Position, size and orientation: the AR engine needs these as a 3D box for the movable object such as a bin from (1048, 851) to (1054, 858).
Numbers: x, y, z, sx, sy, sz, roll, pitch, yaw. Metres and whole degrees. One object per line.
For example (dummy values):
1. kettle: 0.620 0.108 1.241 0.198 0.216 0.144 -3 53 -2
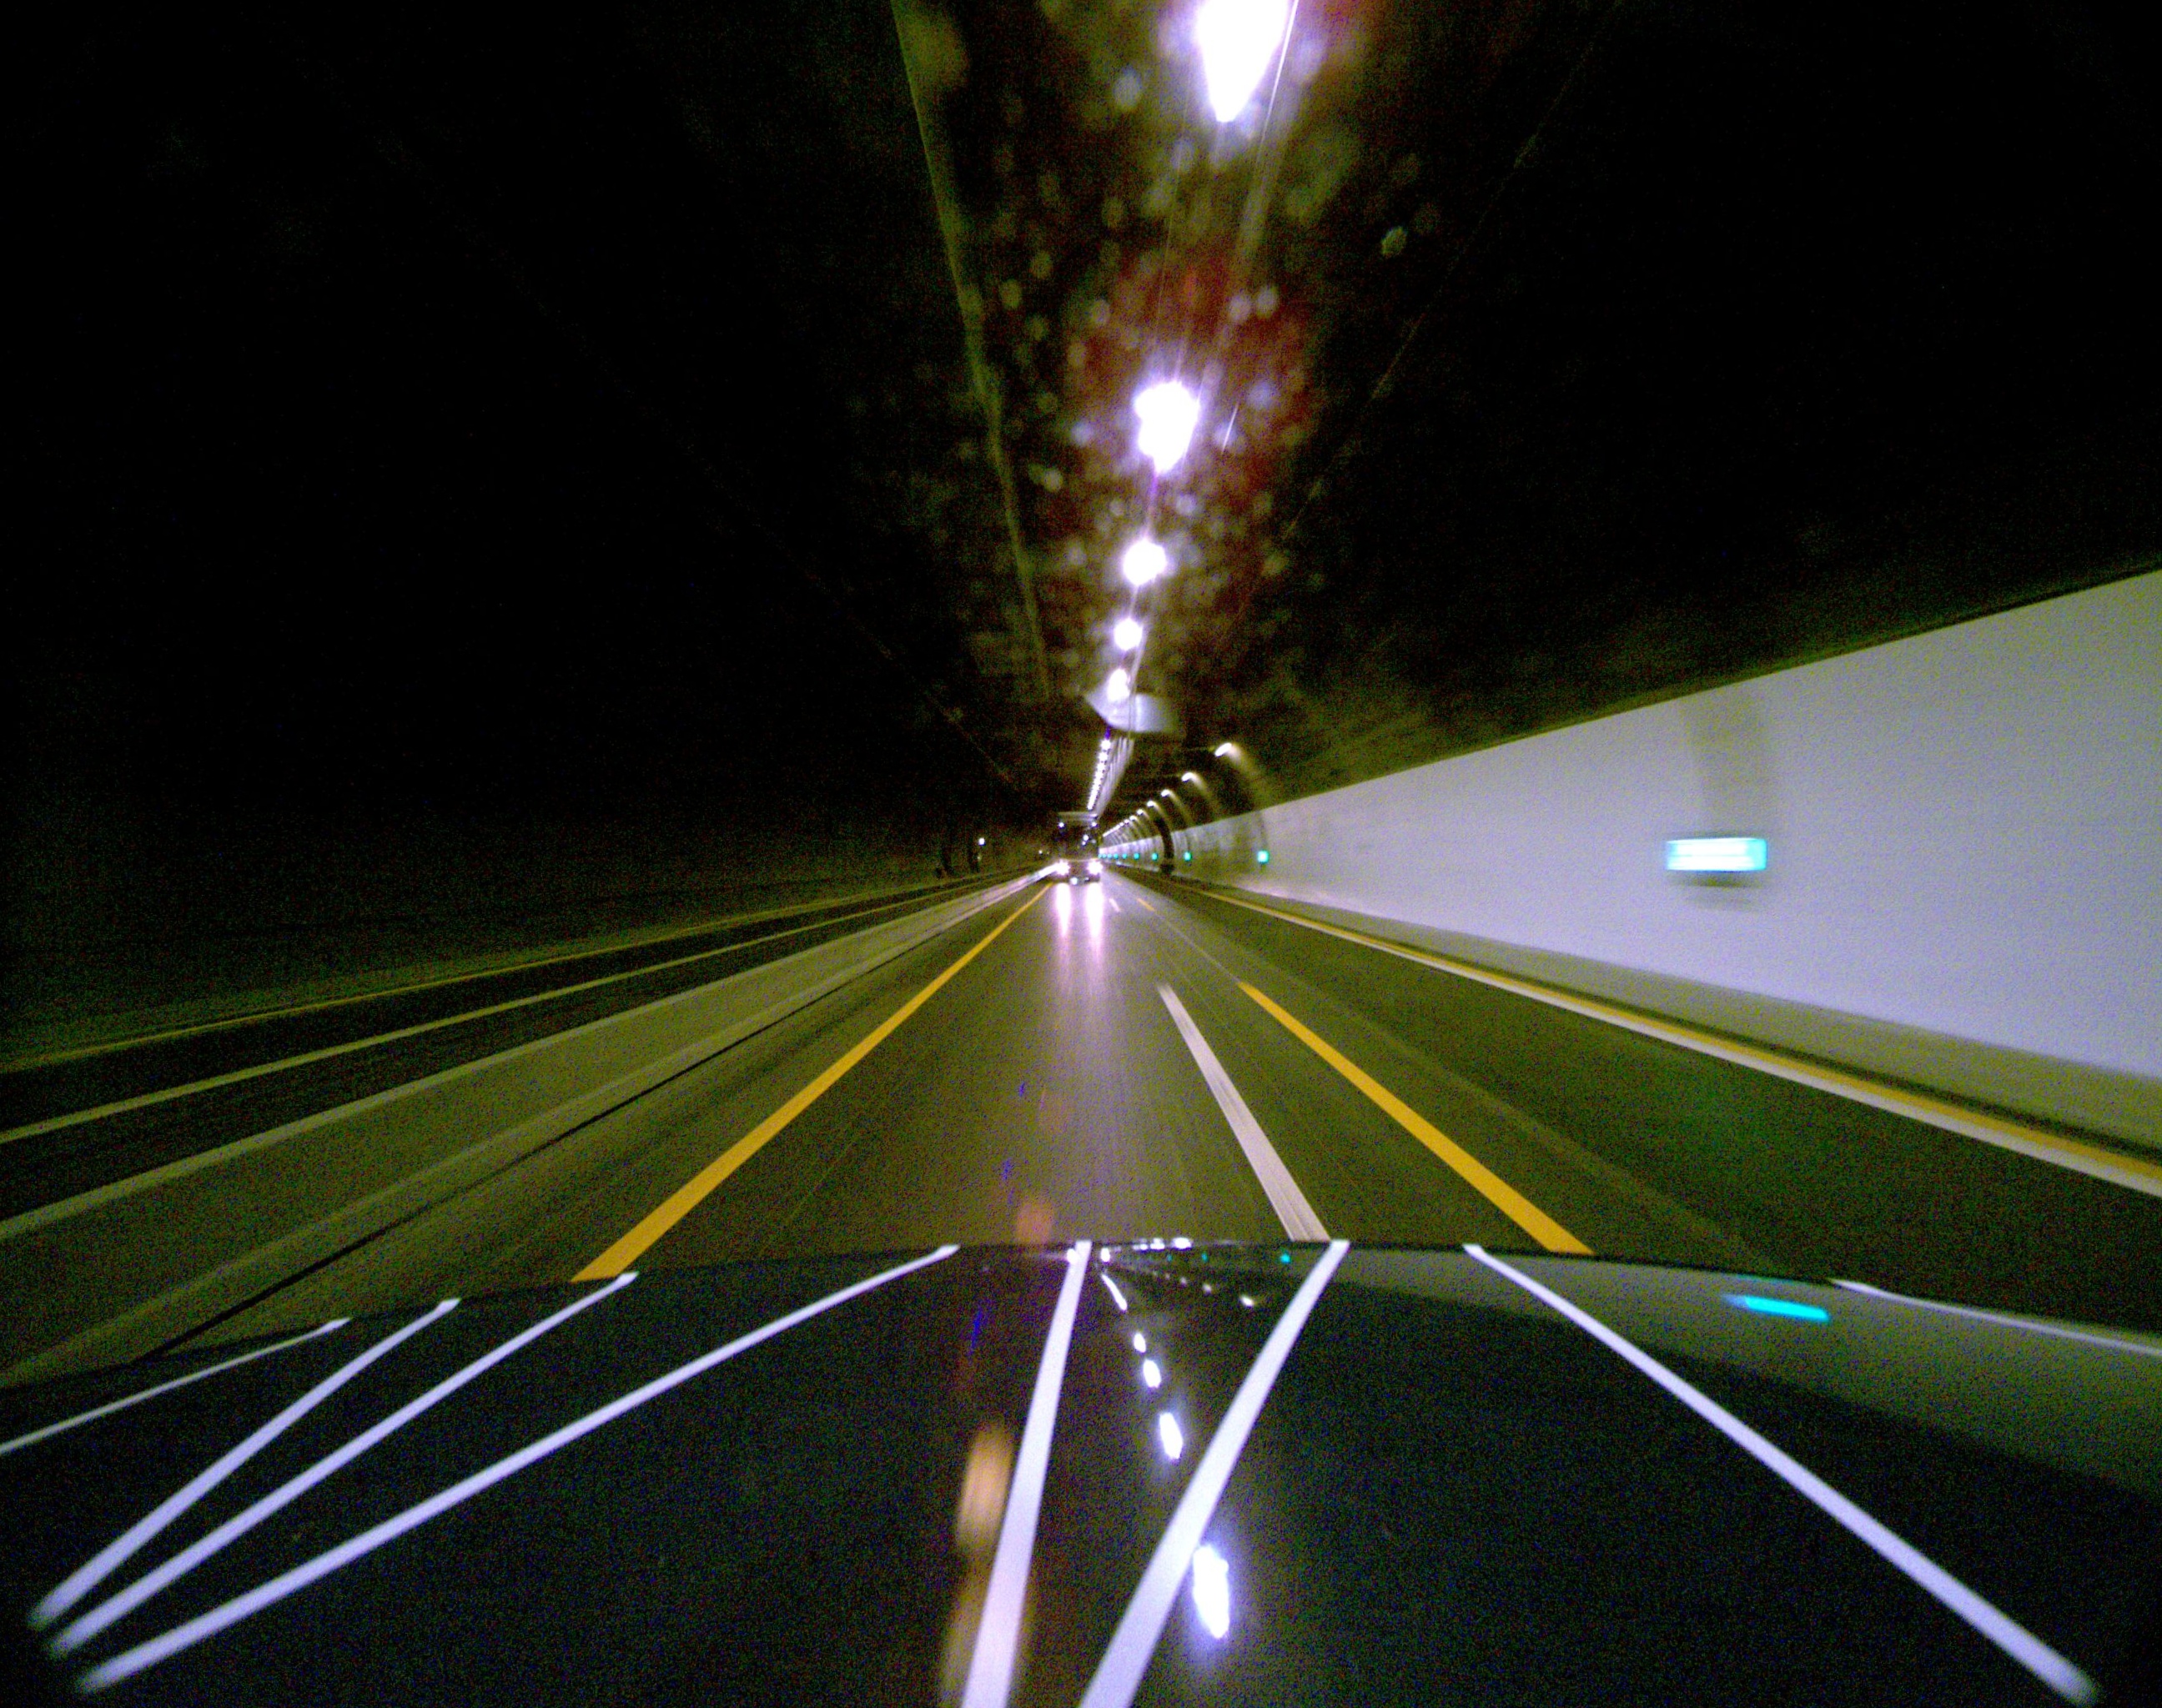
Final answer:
1. movable object such as a bin: -9.325 0.023 235.018 1.688 2.133 4.626 -2 1 -1

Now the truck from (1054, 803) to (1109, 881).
1. truck: -0.011 -0.698 46.657 2.951 4.338 6.674 -2 1 -1

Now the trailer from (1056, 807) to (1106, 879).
1. trailer: -0.072 -0.730 51.723 2.940 4.316 10.050 -2 1 -1

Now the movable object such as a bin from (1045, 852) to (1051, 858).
1. movable object such as a bin: -10.507 0.287 241.107 1.560 1.699 3.054 -2 1 -1
